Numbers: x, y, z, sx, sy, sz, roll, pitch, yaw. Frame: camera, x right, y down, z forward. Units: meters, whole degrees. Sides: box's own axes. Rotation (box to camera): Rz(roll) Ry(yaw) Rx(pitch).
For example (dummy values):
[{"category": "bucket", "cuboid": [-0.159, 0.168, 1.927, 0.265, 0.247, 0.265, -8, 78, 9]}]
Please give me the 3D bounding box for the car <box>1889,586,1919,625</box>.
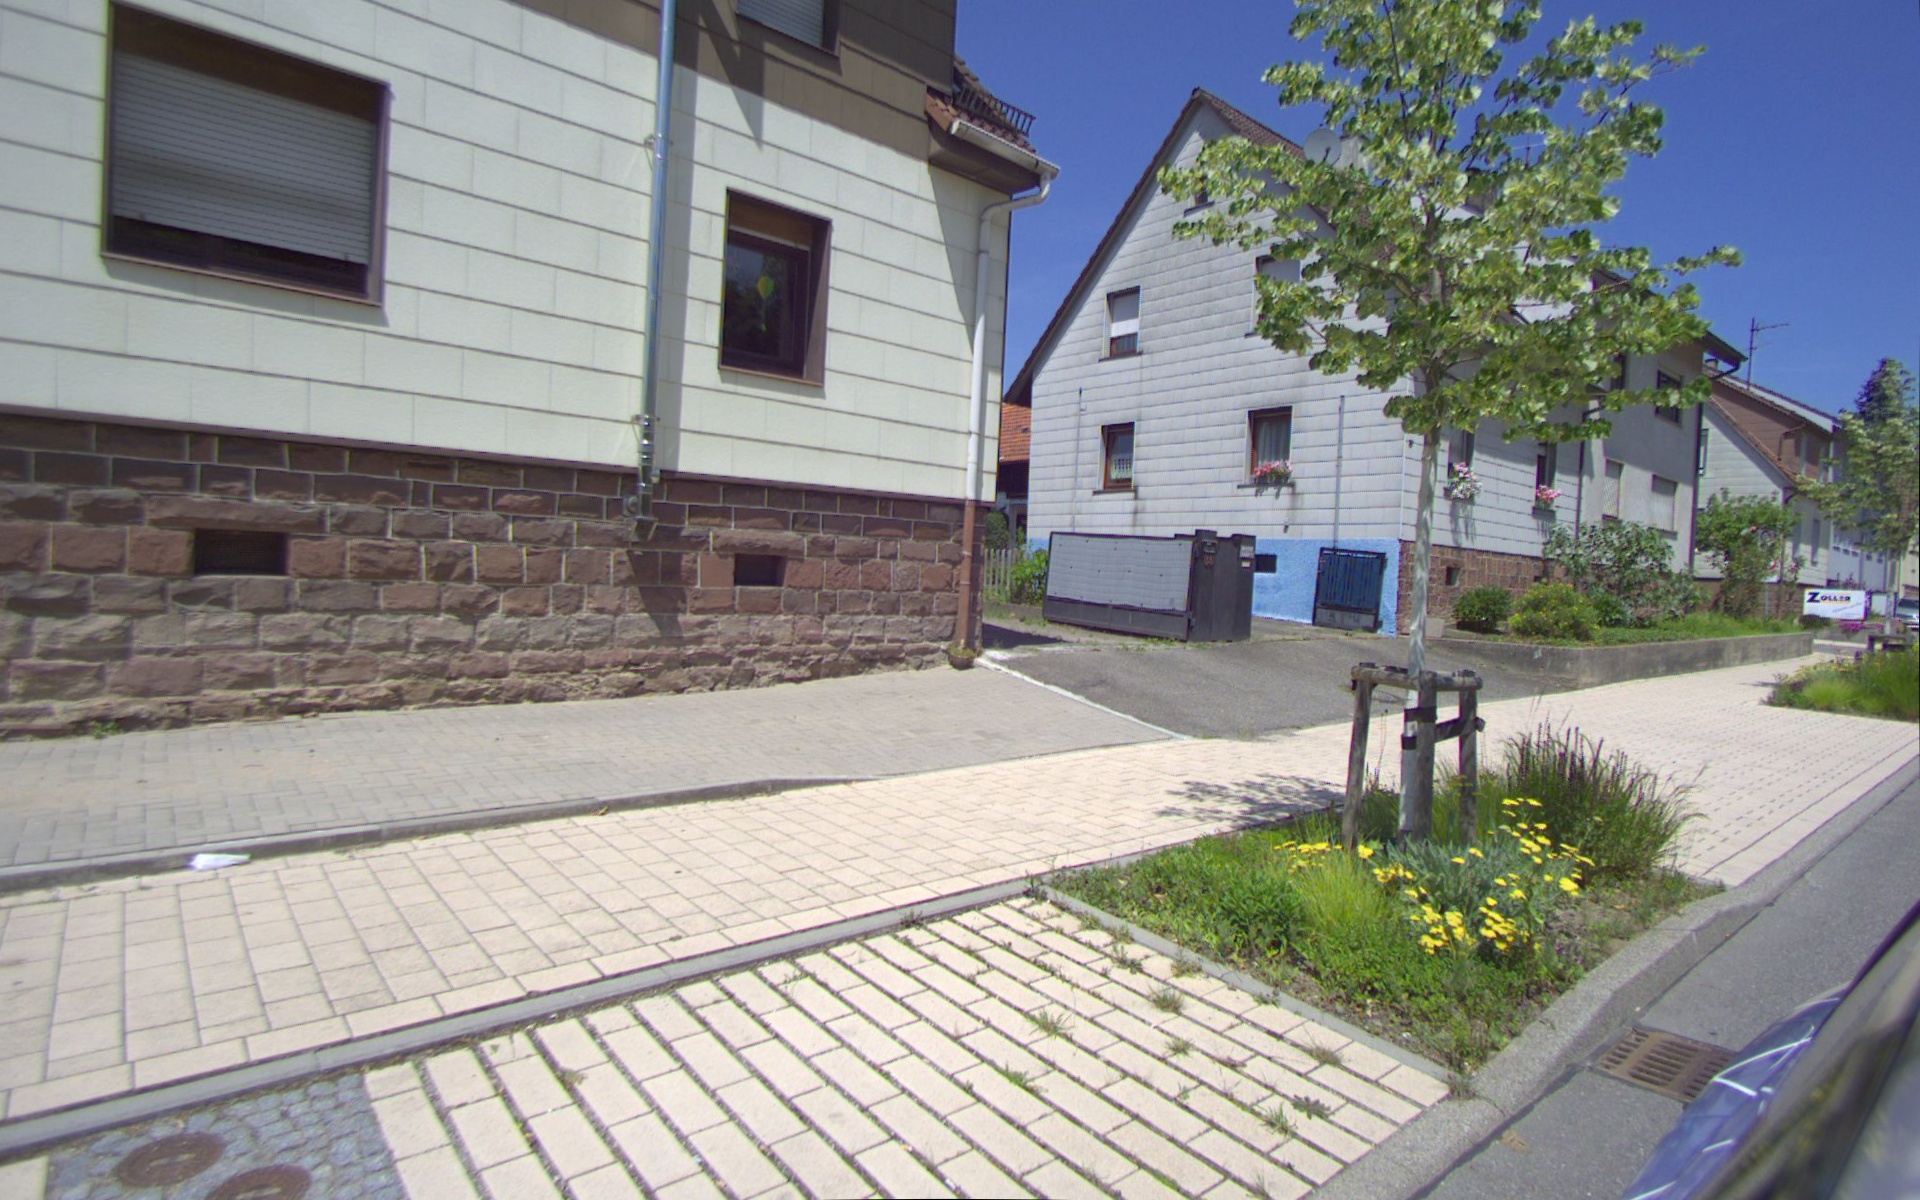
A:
[{"category": "car", "cuboid": [44.204, 0.274, 46.242, 4.427, 1.640, 1.869, -1, 6, -39]}]
